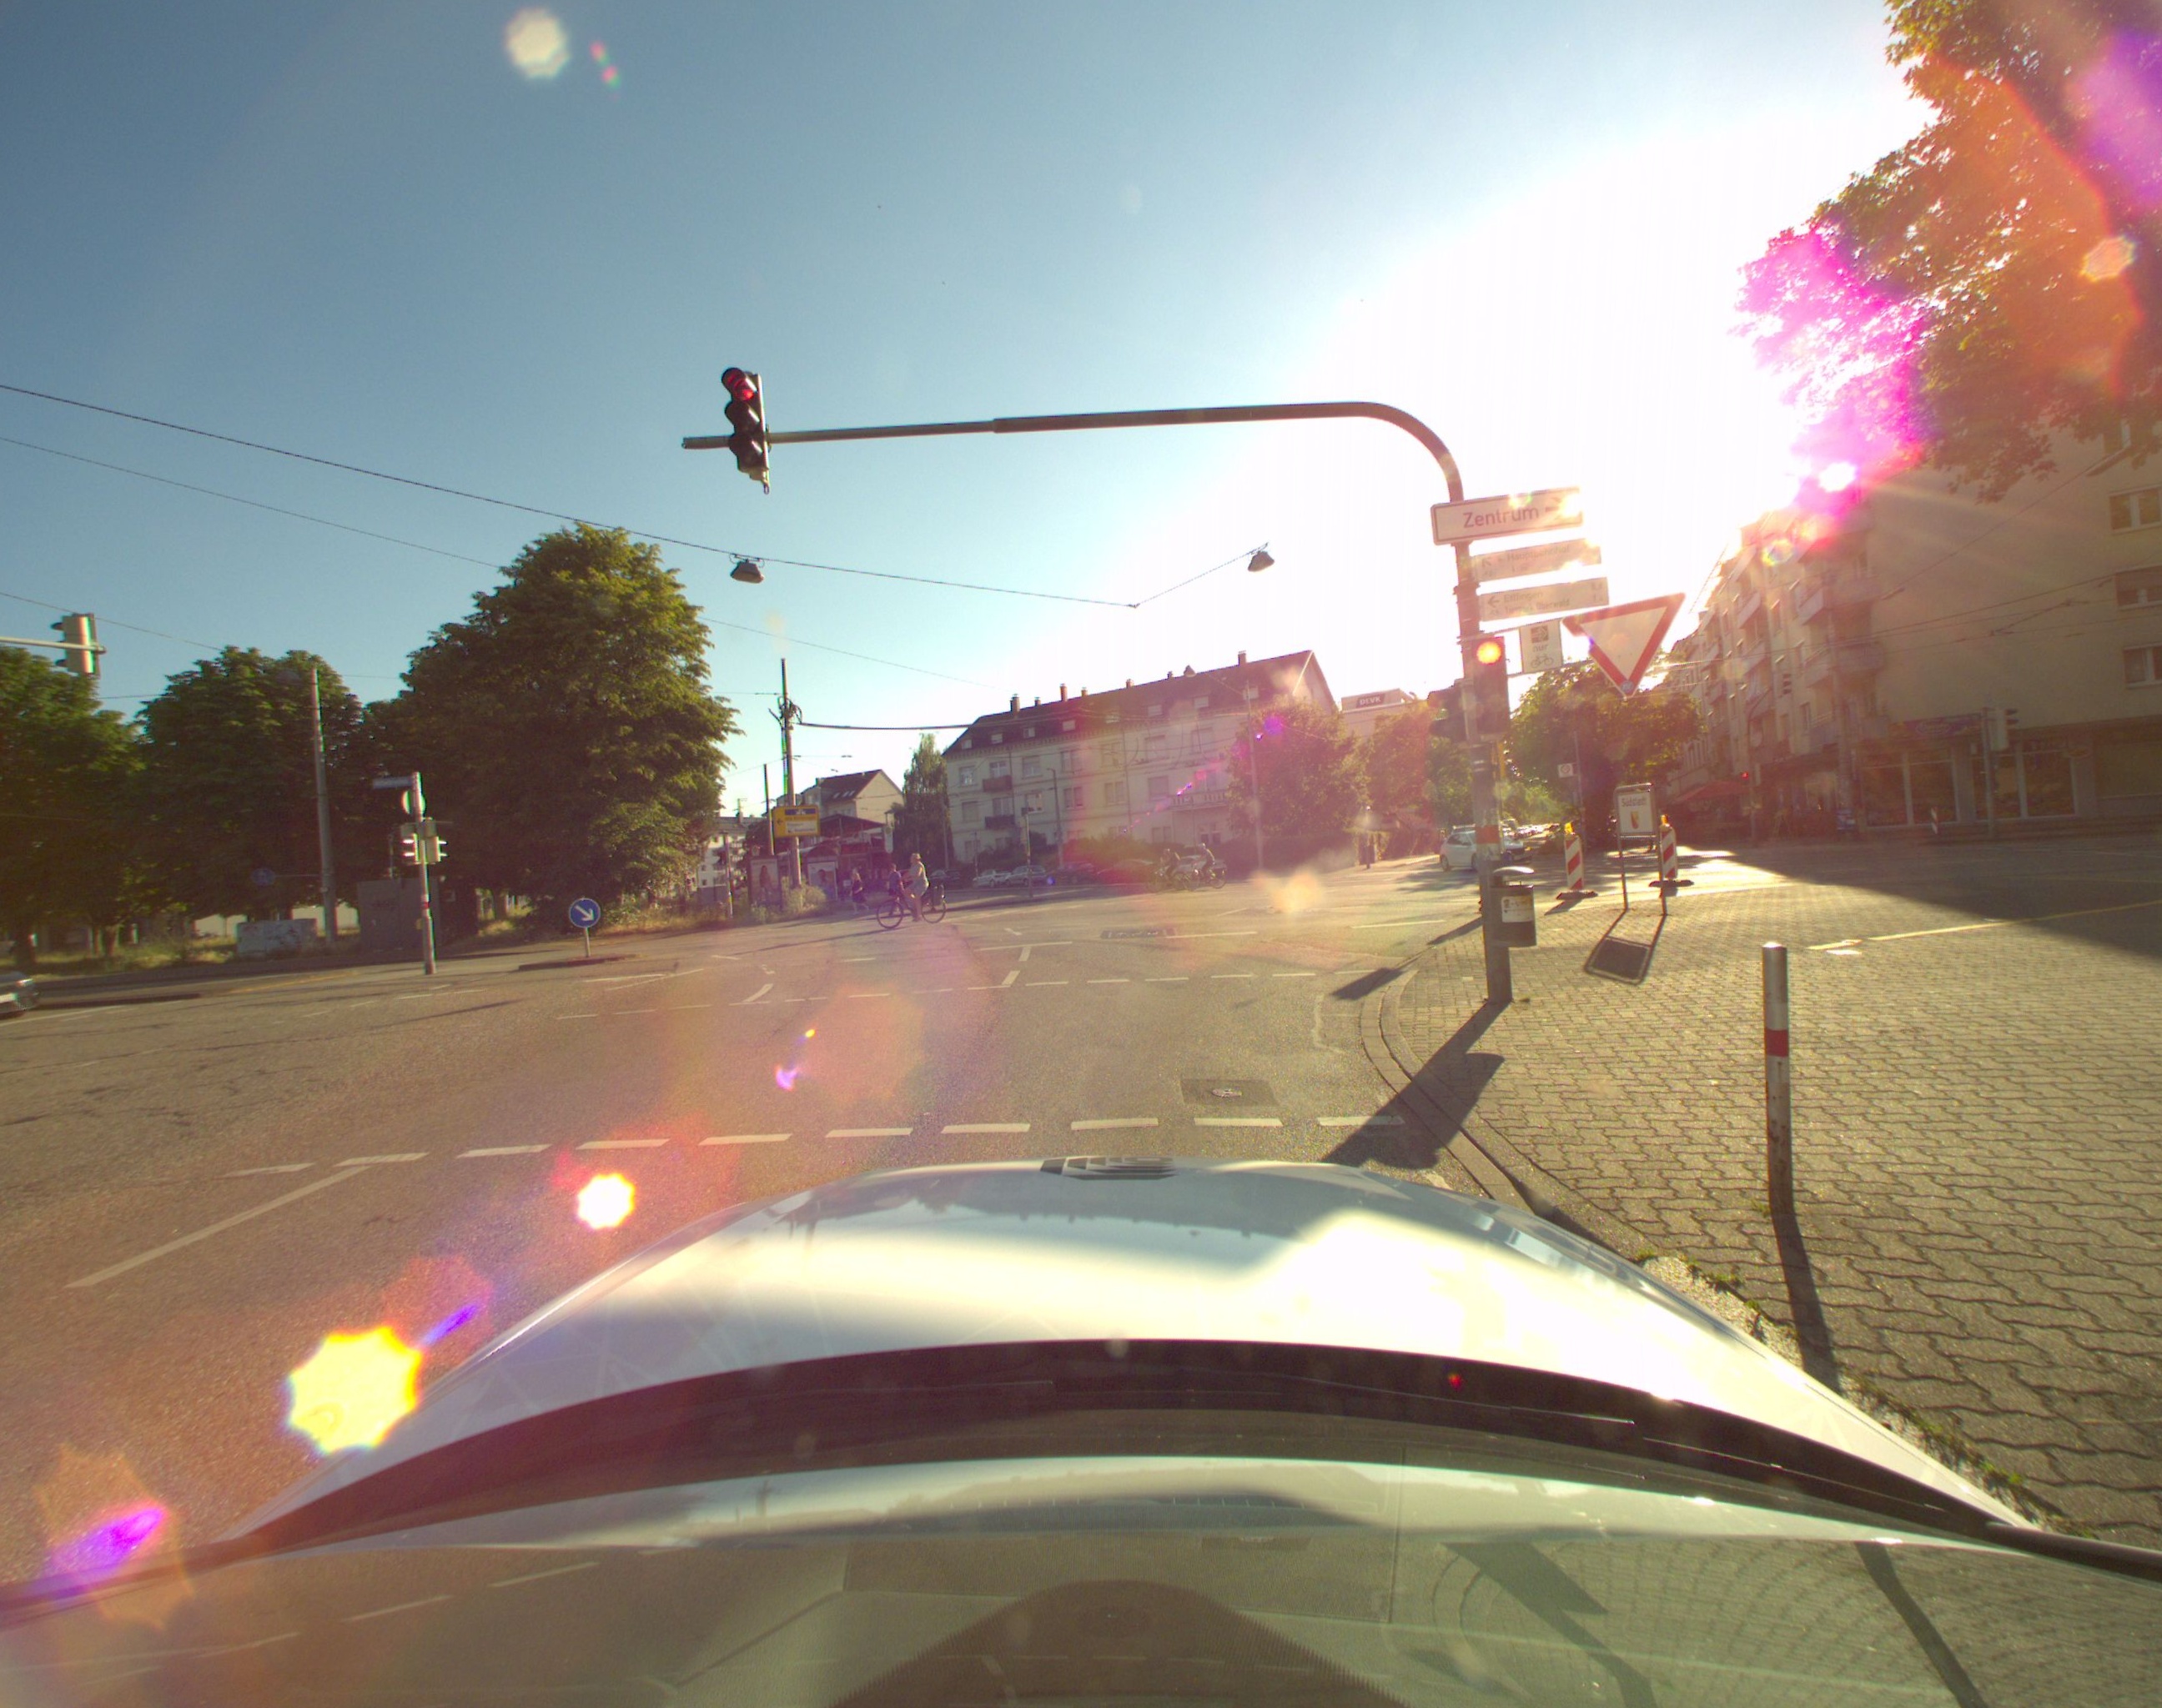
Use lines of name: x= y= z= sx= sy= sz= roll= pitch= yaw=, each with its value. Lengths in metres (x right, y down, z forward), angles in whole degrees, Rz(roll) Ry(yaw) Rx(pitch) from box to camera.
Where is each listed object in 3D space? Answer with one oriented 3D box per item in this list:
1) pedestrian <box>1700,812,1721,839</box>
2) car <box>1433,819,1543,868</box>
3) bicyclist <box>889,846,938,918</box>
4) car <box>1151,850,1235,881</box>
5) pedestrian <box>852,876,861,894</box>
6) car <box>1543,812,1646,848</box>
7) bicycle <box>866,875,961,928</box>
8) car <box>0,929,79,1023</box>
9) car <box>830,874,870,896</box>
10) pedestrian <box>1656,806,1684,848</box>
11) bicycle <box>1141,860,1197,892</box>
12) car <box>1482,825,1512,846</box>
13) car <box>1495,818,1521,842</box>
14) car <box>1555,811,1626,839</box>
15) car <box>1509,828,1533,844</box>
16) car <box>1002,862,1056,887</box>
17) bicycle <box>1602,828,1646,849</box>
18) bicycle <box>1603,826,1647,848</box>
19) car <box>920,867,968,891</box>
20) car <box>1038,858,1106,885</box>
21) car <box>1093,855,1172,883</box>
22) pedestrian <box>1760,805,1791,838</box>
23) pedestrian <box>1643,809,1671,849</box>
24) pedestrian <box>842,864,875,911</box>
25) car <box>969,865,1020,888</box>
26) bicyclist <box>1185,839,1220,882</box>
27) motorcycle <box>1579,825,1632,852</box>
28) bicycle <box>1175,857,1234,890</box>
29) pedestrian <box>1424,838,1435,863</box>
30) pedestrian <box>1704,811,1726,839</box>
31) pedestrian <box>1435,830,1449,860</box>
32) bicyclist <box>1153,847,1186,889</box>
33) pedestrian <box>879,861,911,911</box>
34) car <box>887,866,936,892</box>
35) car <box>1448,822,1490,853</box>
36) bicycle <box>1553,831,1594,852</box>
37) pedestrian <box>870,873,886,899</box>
pedestrian: x=34.055 y=-1.525 z=44.059 sx=0.803 sy=1.362 sz=0.920 roll=-5 pitch=-1 yaw=36
car: x=14.300 y=-0.331 z=28.861 sx=1.884 sy=1.486 sz=4.001 roll=-4 pitch=0 yaw=1
bicyclist: x=-3.970 y=0.658 z=19.285 sx=0.859 sy=1.605 sz=0.770 roll=-4 pitch=-1 yaw=-28
car: x=6.271 y=0.673 z=46.122 sx=1.941 sy=1.376 sz=4.443 roll=-7 pitch=1 yaw=-40
pedestrian: x=-18.484 y=2.548 z=67.063 sx=0.569 sy=1.500 sz=0.672 roll=-4 pitch=-1 yaw=-27
car: x=34.253 y=-1.544 z=54.543 sx=5.567 sy=1.924 sz=2.377 roll=-5 pitch=-2 yaw=28
bicycle: x=-3.943 y=1.098 z=19.195 sx=2.024 sy=1.069 sz=0.657 roll=-4 pitch=-1 yaw=-27
car: x=-21.394 y=2.369 z=14.628 sx=4.415 sy=1.567 sz=2.057 roll=-4 pitch=0 yaw=5
car: x=-23.845 y=3.191 z=83.945 sx=2.067 sy=1.961 sz=5.091 roll=-7 pitch=1 yaw=-39
pedestrian: x=25.820 y=-1.186 z=35.694 sx=0.799 sy=1.750 sz=0.685 roll=-4 pitch=-1 yaw=-38
bicycle: x=3.405 y=0.848 z=31.609 sx=2.014 sy=1.069 sz=0.661 roll=-4 pitch=-1 yaw=-12
car: x=39.717 y=-1.794 z=77.666 sx=2.332 sy=1.795 sz=5.343 roll=-5 pitch=-1 yaw=28
car: x=47.947 y=-2.699 z=91.341 sx=2.332 sy=2.514 sz=5.343 roll=-5 pitch=-1 yaw=28
car: x=44.682 y=-2.511 z=71.614 sx=5.042 sy=1.924 sz=2.377 roll=-5 pitch=-2 yaw=28
car: x=56.647 y=-2.356 z=104.840 sx=2.332 sy=1.795 sz=5.344 roll=-5 pitch=-1 yaw=32
car: x=-3.744 y=1.457 z=58.112 sx=1.998 sy=1.447 sz=3.676 roll=-7 pitch=1 yaw=-39
bicycle: x=26.869 y=-0.771 z=40.319 sx=1.707 sy=0.932 sz=0.565 roll=-5 pitch=-1 yaw=31
bicycle: x=26.470 y=-0.818 z=39.655 sx=1.707 sy=0.932 sz=0.565 roll=-5 pitch=-1 yaw=31
car: x=-11.407 y=2.073 z=67.625 sx=1.855 sy=1.667 sz=4.319 roll=-7 pitch=1 yaw=-39
car: x=-0.669 y=1.196 z=54.794 sx=1.998 sy=1.447 sz=4.650 roll=-7 pitch=1 yaw=-39
car: x=3.124 y=0.943 z=50.193 sx=1.999 sy=1.376 sz=4.647 roll=-7 pitch=1 yaw=-44
pedestrian: x=33.686 y=-1.558 z=39.513 sx=0.804 sy=1.544 sz=0.919 roll=-5 pitch=-1 yaw=25
pedestrian: x=26.016 y=-1.126 z=36.788 sx=0.799 sy=1.750 sz=0.710 roll=-4 pitch=-1 yaw=-38
pedestrian: x=-8.862 y=1.317 z=32.424 sx=0.909 sy=1.747 sz=1.067 roll=-4 pitch=-1 yaw=-1
car: x=-6.587 y=1.727 z=61.673 sx=1.855 sy=1.447 sz=3.912 roll=-7 pitch=1 yaw=-39
bicyclist: x=4.593 y=0.248 z=30.848 sx=1.035 sy=1.532 sz=0.695 roll=-4 pitch=-1 yaw=-13
motorcycle: x=24.968 y=-0.717 z=38.801 sx=1.933 sy=1.109 sz=0.842 roll=-5 pitch=-1 yaw=26
bicycle: x=4.662 y=0.728 z=30.776 sx=2.015 sy=1.069 sz=0.660 roll=-4 pitch=-1 yaw=-14
pedestrian: x=25.275 y=-0.263 z=59.104 sx=0.573 sy=1.730 sz=0.612 roll=-4 pitch=-1 yaw=26
pedestrian: x=33.376 y=-1.529 z=42.905 sx=0.803 sy=1.362 sz=0.920 roll=-5 pitch=-1 yaw=36
pedestrian: x=22.926 y=-0.577 z=51.713 sx=0.655 sy=1.839 sz=0.687 roll=-4 pitch=-1 yaw=30
bicyclist: x=3.421 y=0.534 z=31.602 sx=1.035 sy=1.532 sz=0.658 roll=-4 pitch=-1 yaw=-12
pedestrian: x=-7.435 y=1.260 z=32.666 sx=0.909 sy=1.925 sz=1.067 roll=-4 pitch=-1 yaw=-1
car: x=-15.203 y=2.230 z=72.760 sx=2.067 sy=1.961 sz=5.091 roll=-7 pitch=1 yaw=-39
car: x=28.388 y=-1.233 z=59.442 sx=2.332 sy=2.013 sz=5.343 roll=-5 pitch=-1 yaw=28
bicycle: x=24.919 y=-0.639 z=41.195 sx=1.707 sy=0.932 sz=0.676 roll=-5 pitch=-1 yaw=31
pedestrian: x=-16.460 y=2.567 z=66.017 sx=0.928 sy=2.013 sz=0.761 roll=-4 pitch=0 yaw=-34
